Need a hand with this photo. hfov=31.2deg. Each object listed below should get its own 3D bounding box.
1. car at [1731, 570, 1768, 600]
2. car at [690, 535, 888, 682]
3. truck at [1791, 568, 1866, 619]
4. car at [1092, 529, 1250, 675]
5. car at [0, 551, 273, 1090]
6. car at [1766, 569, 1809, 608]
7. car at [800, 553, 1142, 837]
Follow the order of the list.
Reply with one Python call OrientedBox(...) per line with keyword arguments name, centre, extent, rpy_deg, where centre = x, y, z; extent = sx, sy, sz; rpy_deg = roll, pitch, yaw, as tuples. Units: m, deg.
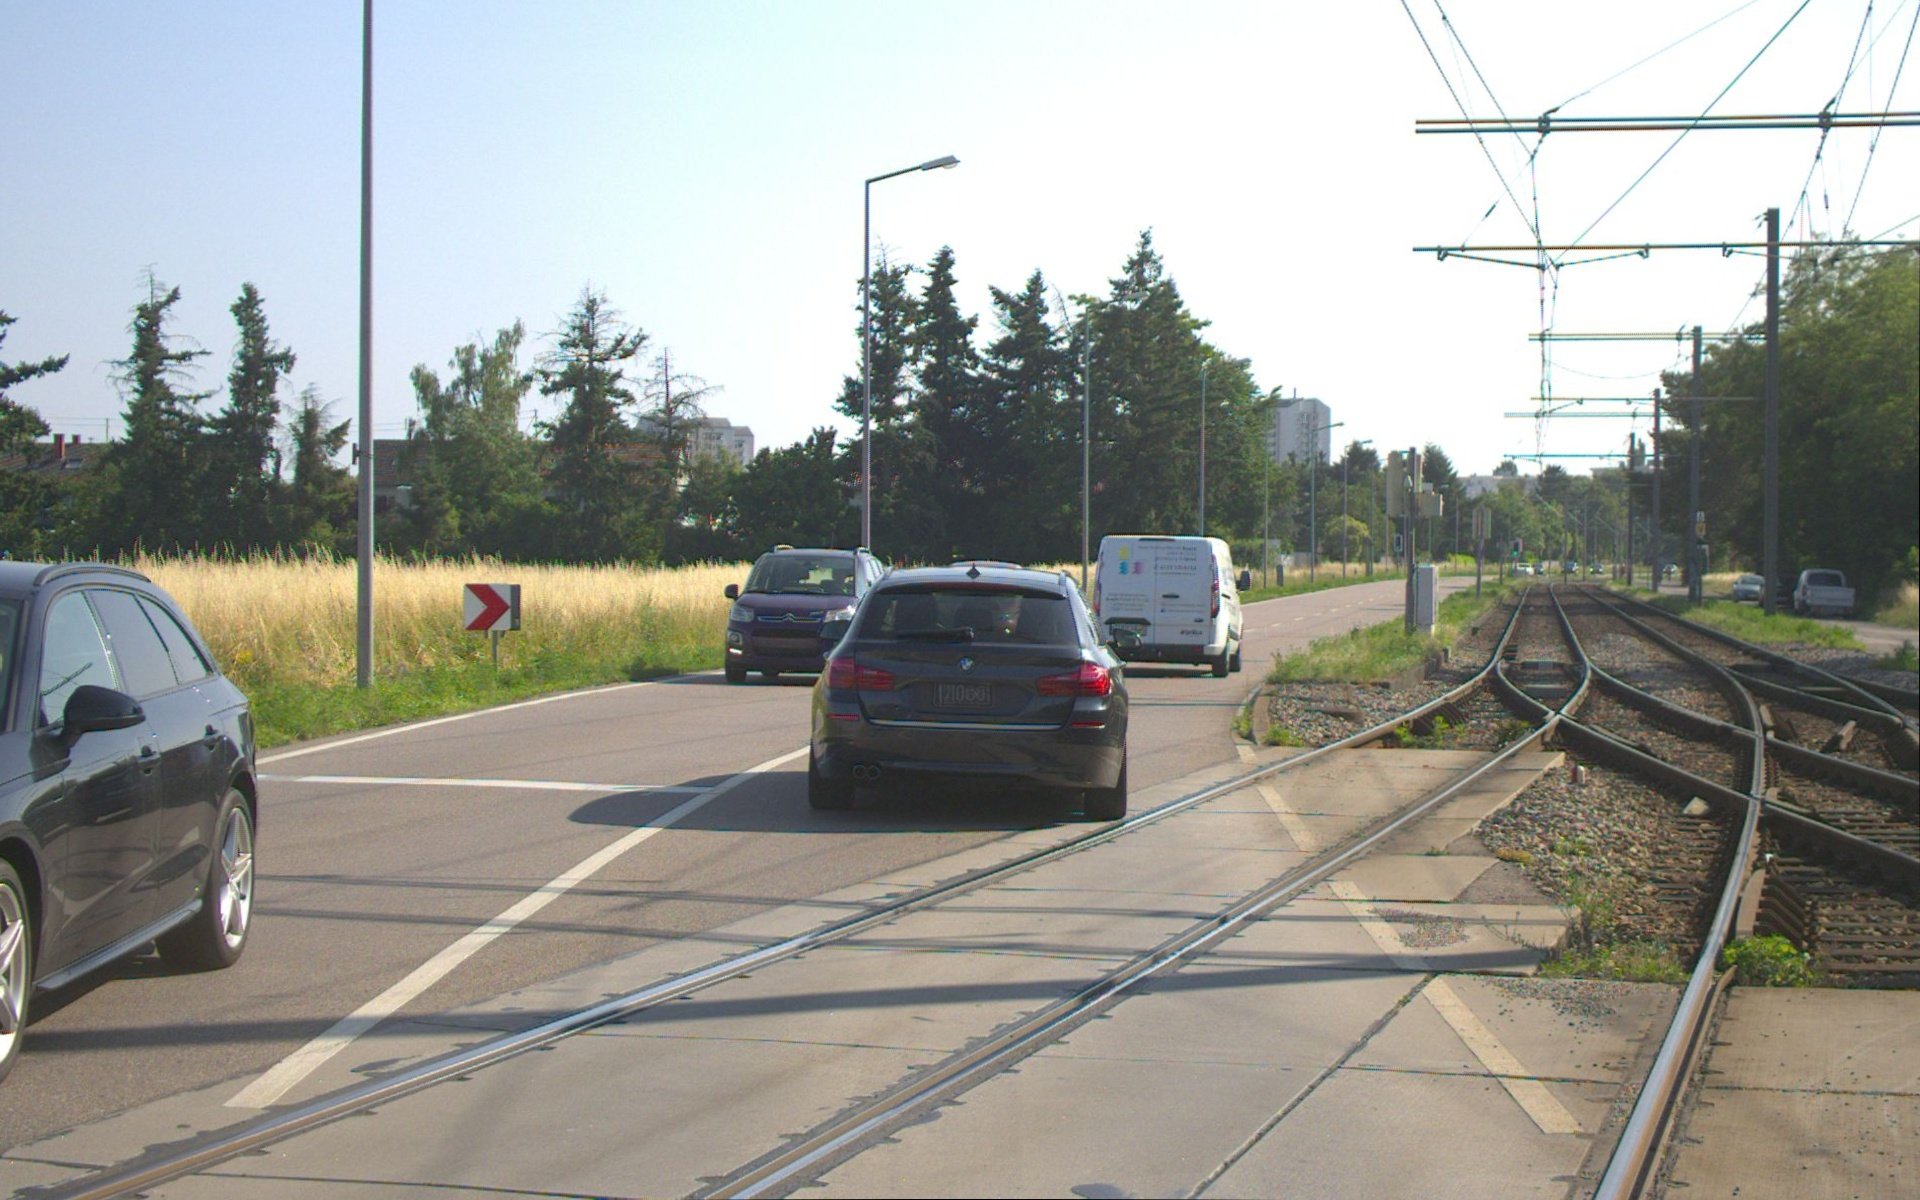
OrientedBox(name="car", centre=(40.261, -0.752, 175.328), extent=(1.622, 1.394, 3.488), rpy_deg=(2, 0, 10))
OrientedBox(name="car", centre=(-2.047, 0.058, 42.382), extent=(1.707, 1.659, 4.589), rpy_deg=(1, 1, 6))
OrientedBox(name="truck", centre=(32.763, -0.264, 129.868), extent=(2.205, 1.813, 5.927), rpy_deg=(1, 1, 9))
OrientedBox(name="car", centre=(3.142, -0.026, 50.283), extent=(1.858, 1.981, 5.107), rpy_deg=(2, 1, 8))
OrientedBox(name="car", centre=(-3.467, 0.591, 10.672), extent=(1.693, 1.434, 4.284), rpy_deg=(2, 1, 1))
OrientedBox(name="car", centre=(37.893, -0.525, 157.486), extent=(1.736, 1.674, 3.542), rpy_deg=(2, 0, 12))
OrientedBox(name="car", centre=(0.050, 0.496, 21.477), extent=(1.869, 1.447, 4.744), rpy_deg=(1, 2, 0))
